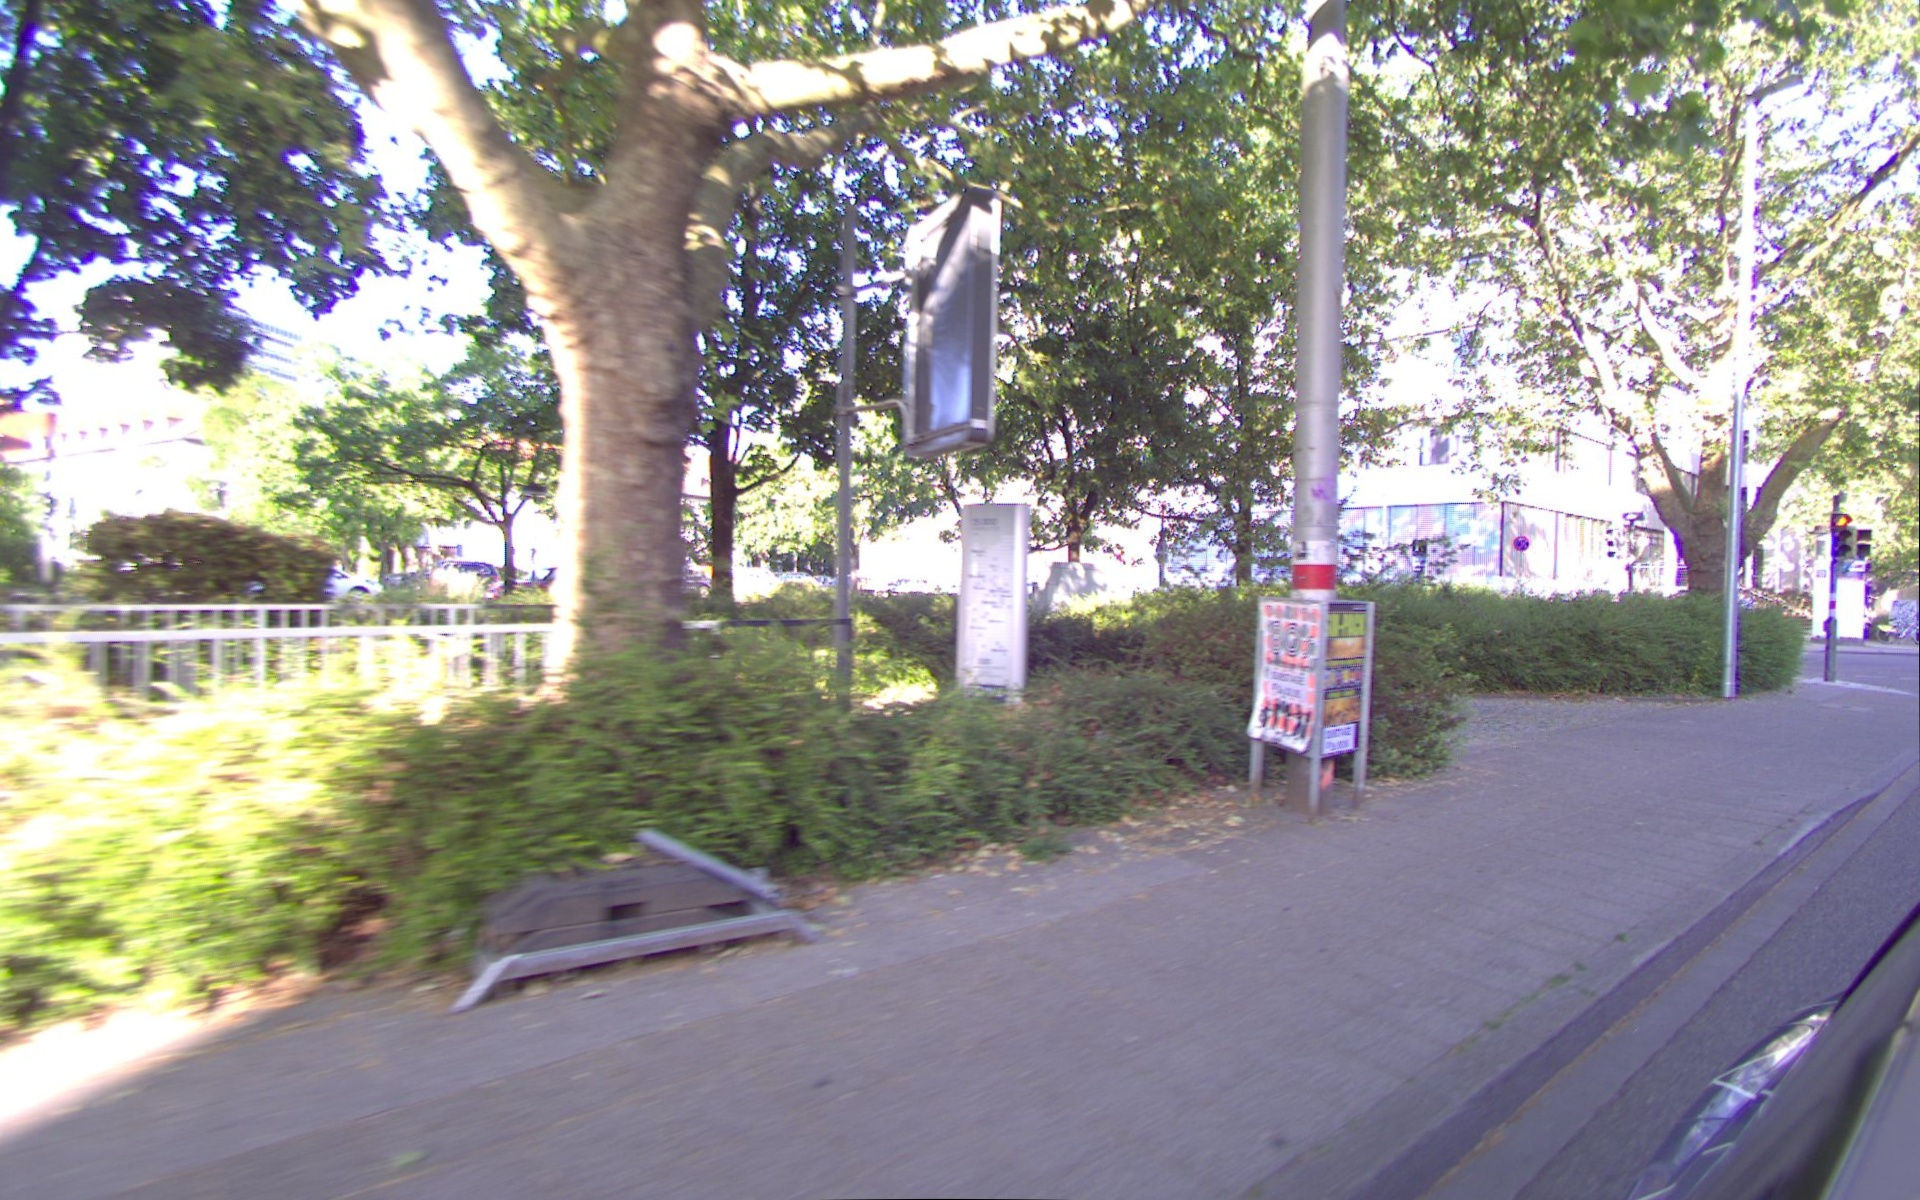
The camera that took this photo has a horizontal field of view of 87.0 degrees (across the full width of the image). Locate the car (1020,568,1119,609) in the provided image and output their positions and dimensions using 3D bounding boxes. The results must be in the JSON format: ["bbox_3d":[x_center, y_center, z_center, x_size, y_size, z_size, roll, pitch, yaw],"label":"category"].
[{"bbox_3d":[5.390,-0.596,50.285,2.073,1.851,4.711,1,1,-43],"label":"car"}]

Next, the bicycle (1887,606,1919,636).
[{"bbox_3d":[34.950,0.805,36.829,1.618,1.011,0.617,3,4,24],"label":"bicycle"}]

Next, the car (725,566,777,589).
[{"bbox_3d":[-14.319,-1.544,69.215,3.587,1.509,1.606,3,1,40],"label":"car"}]

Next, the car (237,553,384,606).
[{"bbox_3d":[-21.763,-0.645,33.972,3.930,1.647,1.921,1,-1,-41],"label":"car"}]

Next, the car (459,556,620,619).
[{"bbox_3d":[-13.023,-0.361,31.490,4.238,1.834,1.784,1,1,-43],"label":"car"}]

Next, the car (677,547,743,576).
[{"bbox_3d":[-17.848,-2.763,72.097,4.892,1.808,2.060,4,3,40],"label":"car"}]

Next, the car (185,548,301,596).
[{"bbox_3d":[-31.821,-1.182,44.962,3.976,1.971,1.920,1,-1,-42],"label":"car"}]

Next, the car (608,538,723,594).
[{"bbox_3d":[-14.570,-1.644,50.242,5.072,2.605,1.996,0,1,-43],"label":"car"}]

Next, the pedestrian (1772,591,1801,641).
[{"bbox_3d":[26.242,0.491,32.132,0.670,1.543,0.553,1,0,37],"label":"pedestrian"}]

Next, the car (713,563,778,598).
[{"bbox_3d":[-17.327,-1.547,81.931,1.988,2.651,5.054,4,2,35],"label":"car"}]

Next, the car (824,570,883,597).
[{"bbox_3d":[-6.546,-1.012,62.091,1.602,1.503,3.843,1,1,-43],"label":"car"}]

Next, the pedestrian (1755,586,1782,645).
[{"bbox_3d":[25.896,0.488,32.407,0.600,1.862,0.563,1,0,34],"label":"pedestrian"}]

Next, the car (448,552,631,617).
[{"bbox_3d":[-11.389,-0.394,27.566,4.238,1.621,1.784,1,1,-43],"label":"car"}]

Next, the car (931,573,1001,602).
[{"bbox_3d":[0.291,-0.694,55.486,1.602,1.503,3.843,1,1,-43],"label":"car"}]
